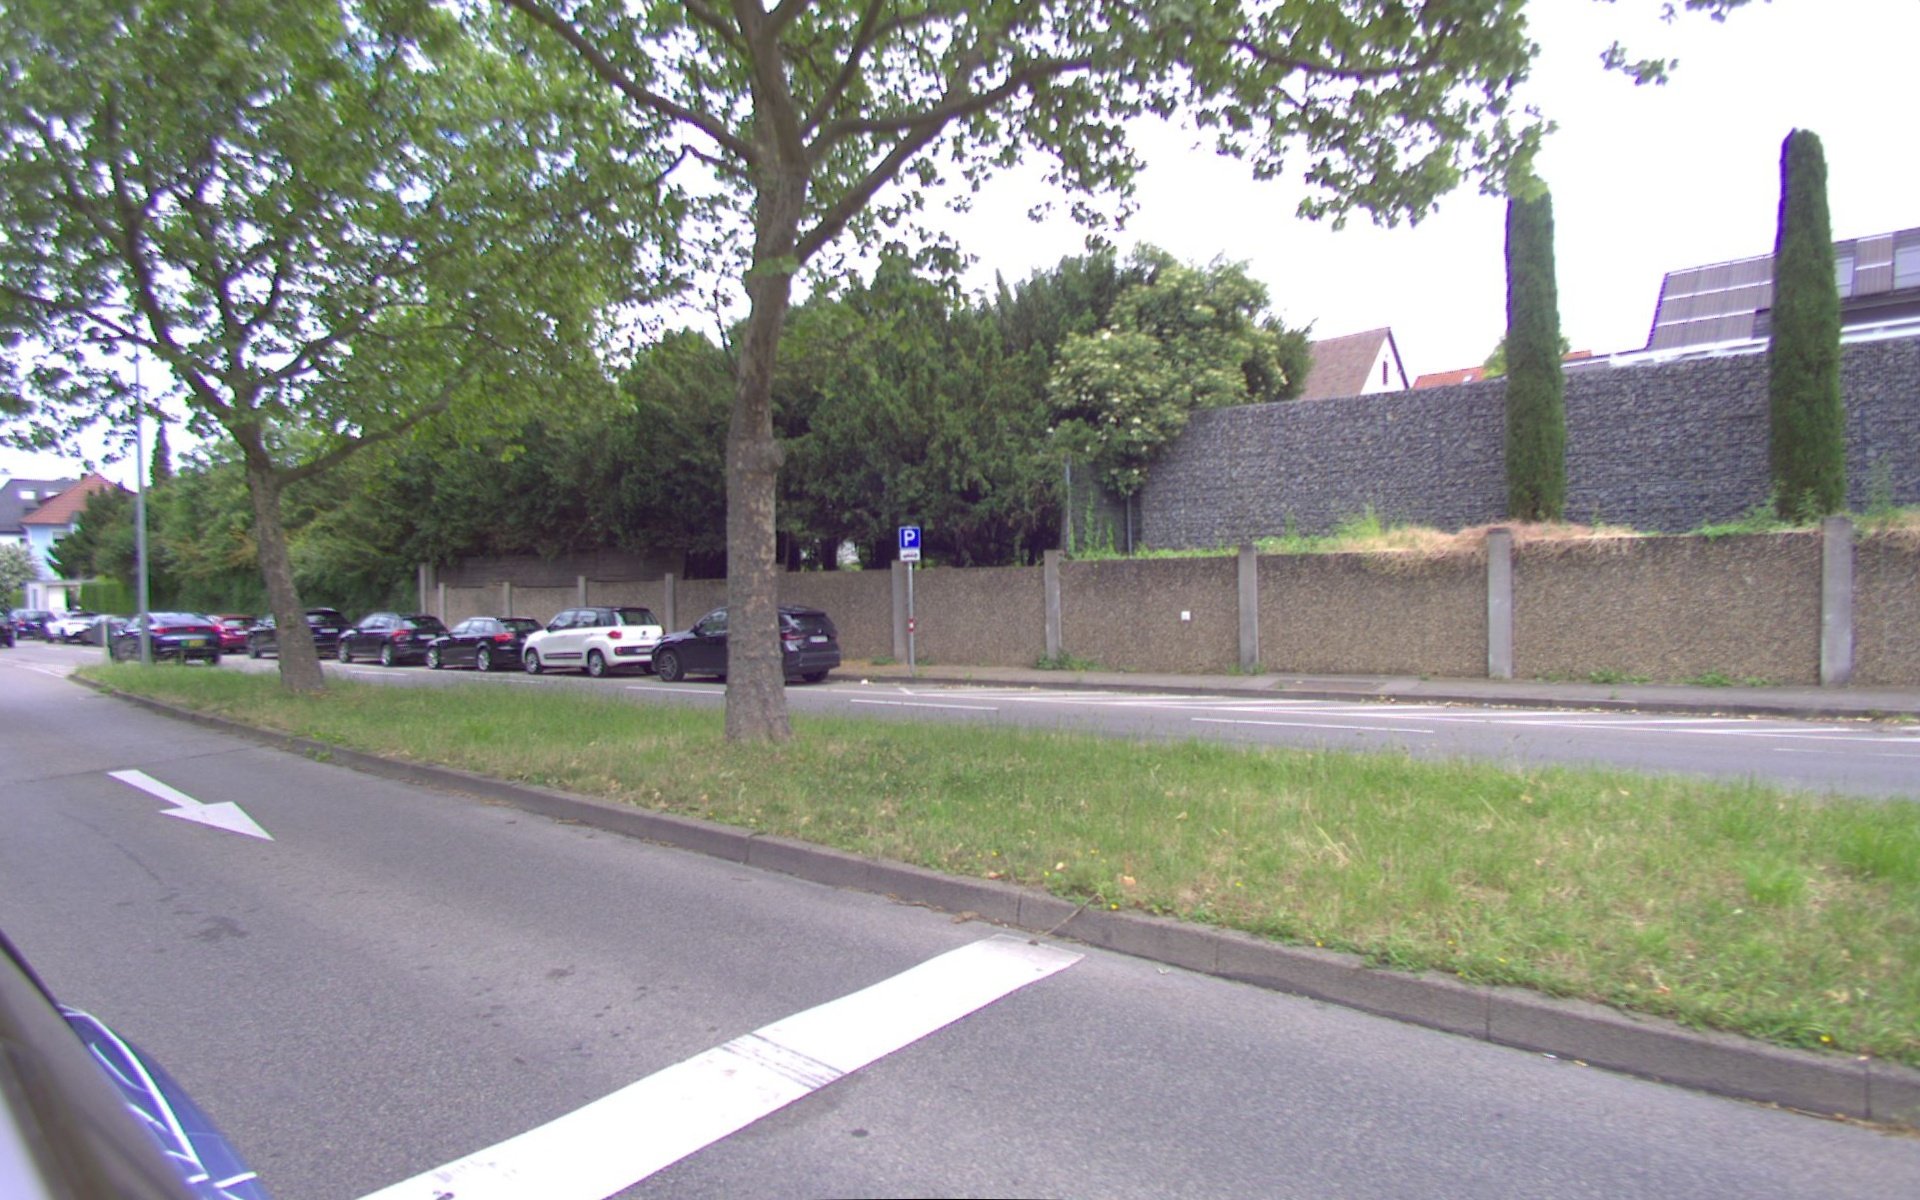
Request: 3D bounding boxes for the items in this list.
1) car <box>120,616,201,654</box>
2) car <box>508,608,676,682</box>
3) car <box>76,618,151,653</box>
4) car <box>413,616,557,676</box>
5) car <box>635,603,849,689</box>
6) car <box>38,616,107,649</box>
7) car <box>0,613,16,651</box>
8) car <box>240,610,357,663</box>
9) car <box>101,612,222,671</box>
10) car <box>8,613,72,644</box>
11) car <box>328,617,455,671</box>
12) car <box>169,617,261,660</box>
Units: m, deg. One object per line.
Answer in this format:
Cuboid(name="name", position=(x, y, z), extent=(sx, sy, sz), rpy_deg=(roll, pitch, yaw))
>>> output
Cuboid(name="car", position=(-33.376, 1.469, 42.229), extent=(3.823, 1.516, 1.667), rpy_deg=(-2, -2, 36))
Cuboid(name="car", position=(-8.949, 1.059, 24.481), extent=(4.208, 1.628, 1.776), rpy_deg=(-2, -2, 36))
Cuboid(name="car", position=(-38.125, 1.569, 45.552), extent=(3.823, 1.516, 1.667), rpy_deg=(-2, -2, 36))
Cuboid(name="car", position=(-12.823, 1.202, 27.245), extent=(4.029, 1.516, 1.776), rpy_deg=(-2, -2, 36))
Cuboid(name="car", position=(-4.602, 0.936, 21.155), extent=(4.448, 1.628, 1.777), rpy_deg=(-1, -2, 33))
Cuboid(name="car", position=(-42.786, 1.547, 48.777), extent=(3.823, 1.516, 1.667), rpy_deg=(-2, -2, 36))
Cuboid(name="car", position=(-43.402, 1.411, 44.674), extent=(3.906, 1.628, 1.822), rpy_deg=(-2, -2, 36))
Cuboid(name="car", position=(-21.941, 1.190, 33.534), extent=(4.027, 1.615, 1.777), rpy_deg=(-1, 0, 34))
Cuboid(name="car", position=(-23.866, 1.205, 30.210), extent=(4.580, 1.628, 1.775), rpy_deg=(-2, -2, 38))
Cuboid(name="car", position=(-46.806, 1.429, 51.475), extent=(3.823, 1.516, 1.667), rpy_deg=(-2, -2, 36))
Cuboid(name="car", position=(-17.074, 1.286, 30.338), extent=(4.029, 1.516, 1.776), rpy_deg=(-2, -2, 36))
Cuboid(name="car", position=(-27.769, 1.416, 37.699), extent=(3.823, 1.516, 1.667), rpy_deg=(-2, -2, 36))
